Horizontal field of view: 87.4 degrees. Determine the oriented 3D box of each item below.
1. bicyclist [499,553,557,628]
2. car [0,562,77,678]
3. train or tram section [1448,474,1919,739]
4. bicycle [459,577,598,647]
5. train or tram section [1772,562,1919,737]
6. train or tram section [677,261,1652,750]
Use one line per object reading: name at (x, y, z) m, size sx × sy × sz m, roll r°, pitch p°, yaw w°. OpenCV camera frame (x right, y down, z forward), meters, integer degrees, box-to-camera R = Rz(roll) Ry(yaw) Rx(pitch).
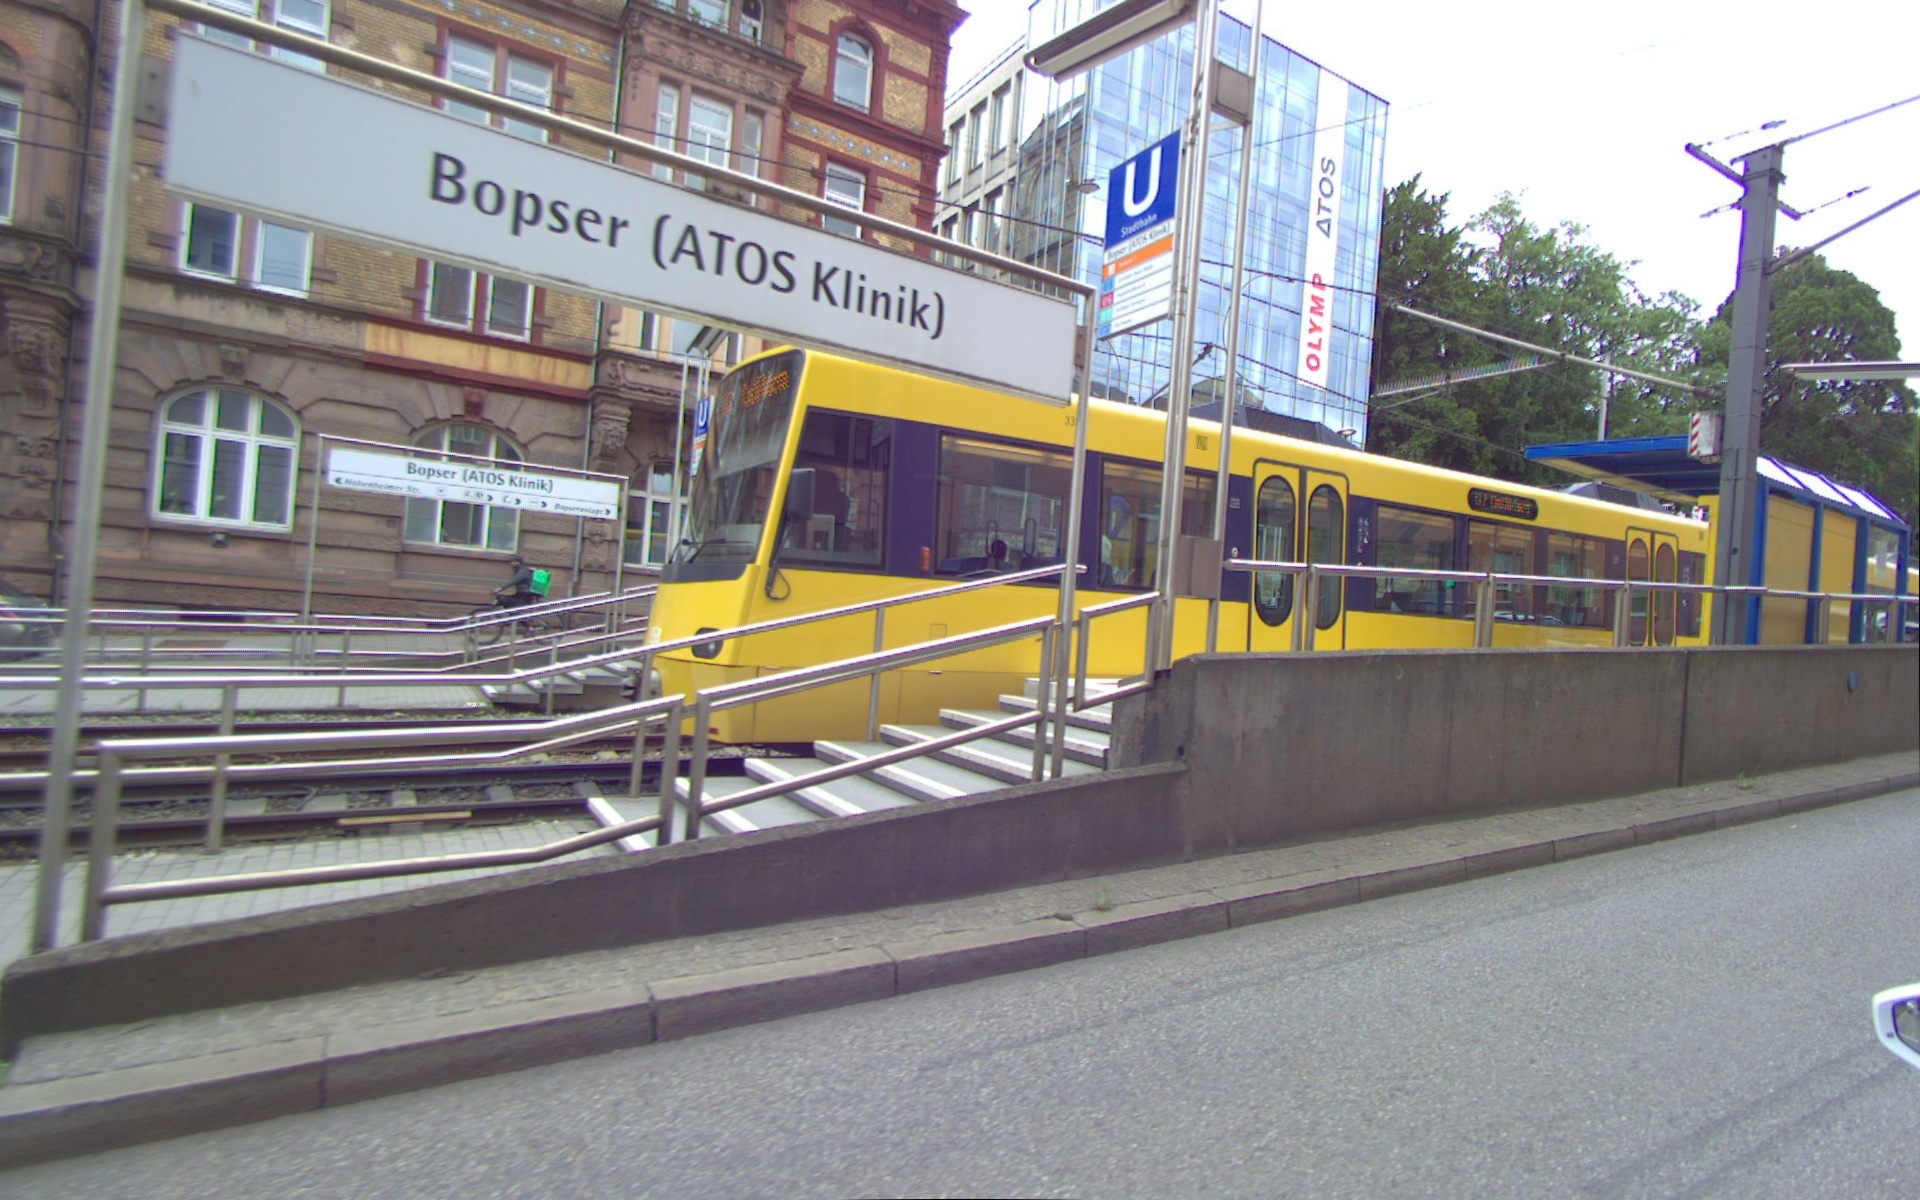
bicyclist at (-8.553, -0.182, 19.886) m, size 0.897 × 1.447 × 0.763 m, roll 1°, pitch 1°, yaw -35°
car at (-13.959, 0.198, 12.248) m, size 4.510 × 1.437 × 1.872 m, roll 1°, pitch 0°, yaw -33°
train or tram section at (13.825, 0.506, 17.928) m, size 12.081 × 3.516 × 2.935 m, roll 5°, pitch -2°, yaw -31°
bicycle at (-8.541, 0.252, 19.937) m, size 2.402 × 1.301 × 0.768 m, roll 1°, pitch 2°, yaw -35°
train or tram section at (24.064, 1.330, 24.186) m, size 12.079 × 3.529 × 2.935 m, roll 4°, pitch -1°, yaw -31°
train or tram section at (3.300, -0.333, 11.749) m, size 12.257 × 3.589 × 2.935 m, roll 4°, pitch -1°, yaw -31°
